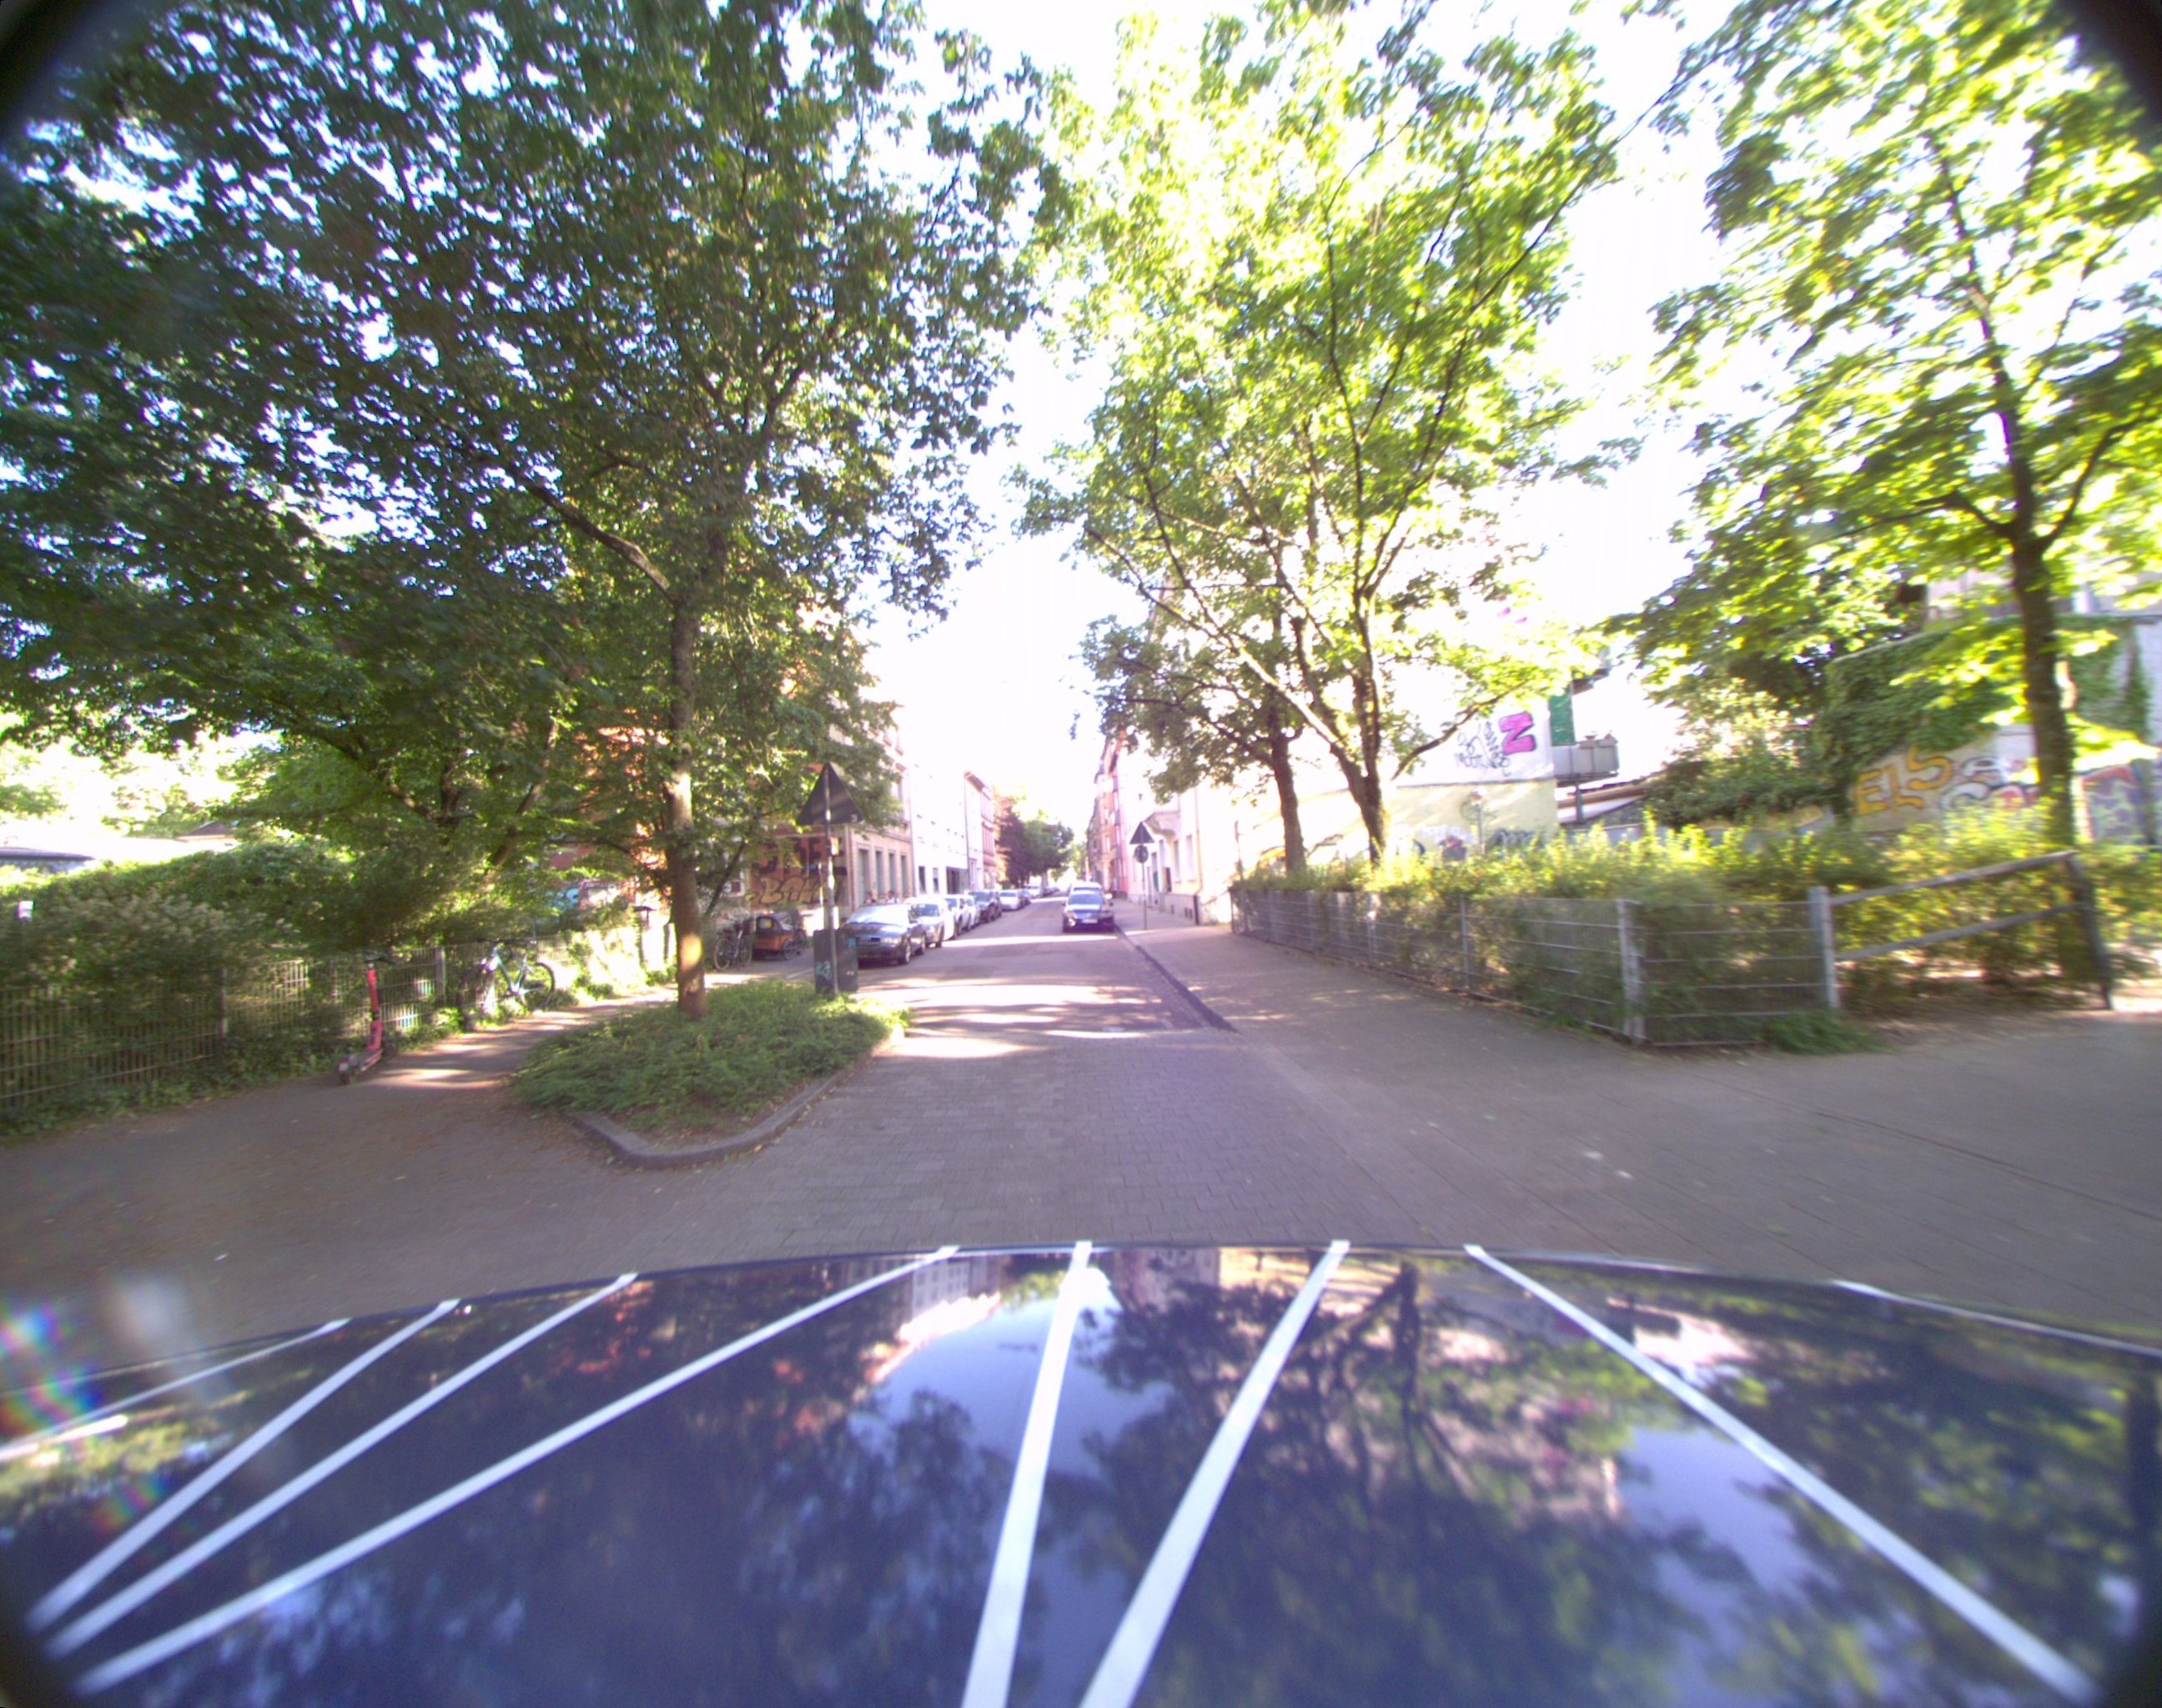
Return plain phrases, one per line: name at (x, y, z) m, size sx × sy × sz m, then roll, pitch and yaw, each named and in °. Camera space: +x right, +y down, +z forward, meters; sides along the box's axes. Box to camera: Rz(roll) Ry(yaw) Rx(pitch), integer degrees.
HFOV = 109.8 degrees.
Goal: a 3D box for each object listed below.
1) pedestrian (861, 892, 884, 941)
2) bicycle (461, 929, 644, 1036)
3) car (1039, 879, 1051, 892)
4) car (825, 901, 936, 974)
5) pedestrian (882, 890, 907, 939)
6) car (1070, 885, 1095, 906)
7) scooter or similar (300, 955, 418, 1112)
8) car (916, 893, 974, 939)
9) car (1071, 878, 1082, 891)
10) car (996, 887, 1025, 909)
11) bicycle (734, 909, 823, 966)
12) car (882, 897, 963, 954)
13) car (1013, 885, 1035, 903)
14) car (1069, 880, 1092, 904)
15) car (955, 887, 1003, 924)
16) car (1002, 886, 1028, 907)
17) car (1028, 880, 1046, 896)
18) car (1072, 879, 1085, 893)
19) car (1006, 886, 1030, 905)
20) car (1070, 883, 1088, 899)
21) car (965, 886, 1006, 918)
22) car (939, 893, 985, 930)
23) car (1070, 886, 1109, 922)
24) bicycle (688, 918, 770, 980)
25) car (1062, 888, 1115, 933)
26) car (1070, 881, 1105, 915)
pedestrian at (-7.312, 2.183, 26.716) m, size 0.599 × 1.698 × 0.706 m, roll 0°, pitch -1°, yaw -1°
bicycle at (-7.914, 1.866, 11.610) m, size 0.849 × 1.260 × 2.693 m, roll -3°, pitch -2°, yaw 1°
car at (-5.838, 5.145, 123.112) m, size 1.769 × 2.005 × 4.265 m, roll 0°, pitch -2°, yaw -1°
car at (-4.933, 2.011, 19.313) m, size 1.725 × 1.484 × 4.414 m, roll -2°, pitch -2°, yaw -2°
pedestrian at (-6.591, 2.113, 26.863) m, size 0.712 × 1.698 × 0.752 m, roll 0°, pitch -1°, yaw -1°
car at (0.062, 2.971, 55.054) m, size 1.769 × 1.463 × 3.817 m, roll 0°, pitch -2°, yaw -1°
scooter or similar at (-7.115, 1.703, 7.546) m, size 0.547 × 1.254 × 1.470 m, roll -1°, pitch -2°, yaw -32°
car at (-5.203, 2.339, 29.473) m, size 1.597 × 1.575 × 3.765 m, roll -2°, pitch -2°, yaw -1°
car at (-0.756, 5.008, 125.290) m, size 1.769 × 2.074 × 4.265 m, roll 0°, pitch -2°, yaw -1°
car at (-5.198, 3.220, 56.220) m, size 1.769 × 1.508 × 4.104 m, roll 0°, pitch -2°, yaw -1°
bicycle at (-7.799, 2.122, 19.749) m, size 1.294 × 1.294 × 2.328 m, roll -1°, pitch -2°, yaw 2°
car at (-4.933, 2.189, 24.168) m, size 1.663 × 1.484 × 4.354 m, roll -1°, pitch -2°, yaw 0°
car at (-5.285, 3.687, 70.552) m, size 1.769 × 1.524 × 4.104 m, roll 0°, pitch -2°, yaw -1°
car at (-0.036, 2.969, 60.406) m, size 1.769 × 1.813 × 4.104 m, roll 0°, pitch -2°, yaw -1°
car at (-5.114, 2.570, 38.621) m, size 1.770 × 1.656 × 4.330 m, roll -2°, pitch -2°, yaw 1°
car at (-5.264, 3.395, 60.937) m, size 1.769 × 1.524 × 4.104 m, roll -1°, pitch -2°, yaw -1°
car at (-5.639, 4.394, 97.861) m, size 1.866 × 1.969 × 4.483 m, roll 0°, pitch -2°, yaw 3°
car at (-0.358, 4.401, 104.521) m, size 1.769 × 1.845 × 3.994 m, roll 0°, pitch -2°, yaw -1°
car at (-5.374, 3.516, 65.401) m, size 1.769 × 1.524 × 4.104 m, roll -1°, pitch -2°, yaw -1°
car at (-0.208, 3.648, 75.613) m, size 1.769 × 1.524 × 4.104 m, roll 0°, pitch -2°, yaw -1°
car at (-5.448, 2.712, 43.781) m, size 1.886 × 1.656 × 4.329 m, roll 0°, pitch -2°, yaw -1°
car at (-5.263, 2.518, 33.965) m, size 1.598 × 1.441 × 4.003 m, roll -1°, pitch -2°, yaw -3°
car at (0.396, 2.168, 33.420) m, size 1.597 × 1.442 × 3.487 m, roll 0°, pitch -2°, yaw 1°
bicycle at (-7.869, 2.102, 17.104) m, size 0.849 × 1.193 × 1.982 m, roll -3°, pitch -2°, yaw 1°
car at (0.224, 1.990, 27.567) m, size 1.784 × 1.434 × 4.393 m, roll 0°, pitch -2°, yaw -1°
car at (0.297, 2.327, 41.016) m, size 1.754 × 1.730 × 4.315 m, roll 0°, pitch -2°, yaw -2°
